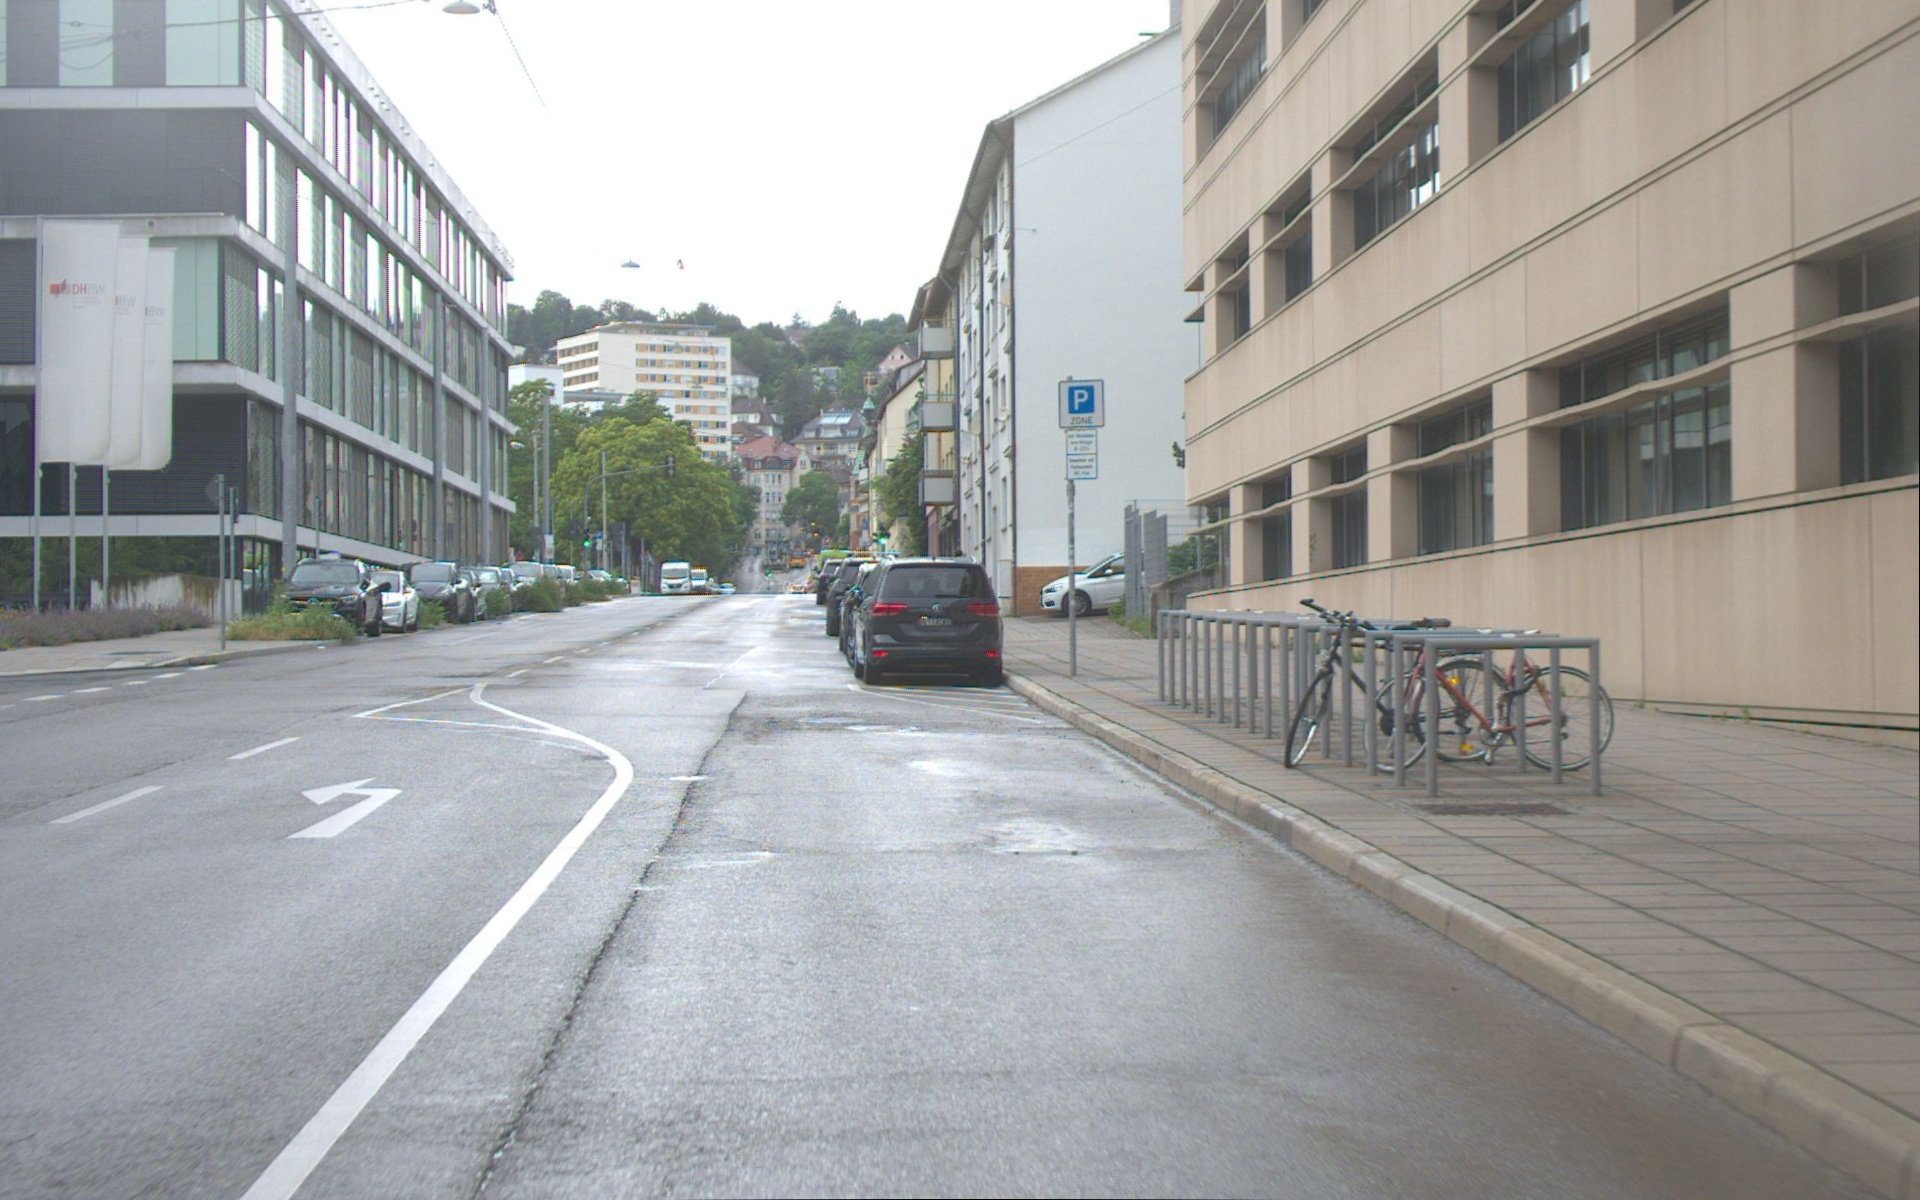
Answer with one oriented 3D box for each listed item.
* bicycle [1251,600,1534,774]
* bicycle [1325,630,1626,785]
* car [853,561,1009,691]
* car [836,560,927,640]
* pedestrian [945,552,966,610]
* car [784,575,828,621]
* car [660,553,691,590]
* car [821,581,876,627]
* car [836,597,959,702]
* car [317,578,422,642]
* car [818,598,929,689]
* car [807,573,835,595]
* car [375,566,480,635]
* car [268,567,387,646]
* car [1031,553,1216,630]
[{"bbox_3d":[2.834,0.561,22.588,1.729,1.115,0.660,0,0,-8],"label":"bicycle"},{"bbox_3d":[3.231,0.665,21.623,1.758,0.950,0.660,0,0,-5],"label":"bicycle"},{"bbox_3d":[-0.426,0.325,45.306,1.771,1.598,4.395,1,0,-4],"label":"car"},{"bbox_3d":[-1.825,0.000,78.302,1.935,1.744,4.797,1,0,-3],"label":"car"},{"bbox_3d":[-0.153,-0.615,110.637,0.639,1.864,0.538,1,0,-1],"label":"pedestrian"},{"bbox_3d":[-5.975,-0.092,133.027,1.654,1.732,4.180,0,1,-3],"label":"car"},{"bbox_3d":[-19.837,-1.962,239.739,2.105,2.538,4.751,1,0,-5],"label":"car"},{"bbox_3d":[-3.653,0.122,112.411,1.706,1.449,3.985,1,0,-3],"label":"car"},{"bbox_3d":[-1.007,0.755,53.543,1.725,1.507,4.058,2,-1,-3],"label":"car"},{"bbox_3d":[-13.634,0.228,79.560,1.821,1.414,4.402,1,0,-2],"label":"car"},{"bbox_3d":[-1.566,0.738,60.954,1.743,1.528,4.320,1,0,-4],"label":"car"},{"bbox_3d":[-10.255,-1.163,254.533,1.867,1.598,4.189,1,0,0],"label":"car"},{"bbox_3d":[-13.839,0.010,89.649,1.962,1.744,4.942,1,0,0],"label":"car"},{"bbox_3d":[-13.360,0.131,72.862,1.849,1.612,4.491,1,0,-2],"label":"car"},{"bbox_3d":[4.104,-0.210,86.918,4.437,1.707,1.905,-3,0,-3],"label":"car"}]
